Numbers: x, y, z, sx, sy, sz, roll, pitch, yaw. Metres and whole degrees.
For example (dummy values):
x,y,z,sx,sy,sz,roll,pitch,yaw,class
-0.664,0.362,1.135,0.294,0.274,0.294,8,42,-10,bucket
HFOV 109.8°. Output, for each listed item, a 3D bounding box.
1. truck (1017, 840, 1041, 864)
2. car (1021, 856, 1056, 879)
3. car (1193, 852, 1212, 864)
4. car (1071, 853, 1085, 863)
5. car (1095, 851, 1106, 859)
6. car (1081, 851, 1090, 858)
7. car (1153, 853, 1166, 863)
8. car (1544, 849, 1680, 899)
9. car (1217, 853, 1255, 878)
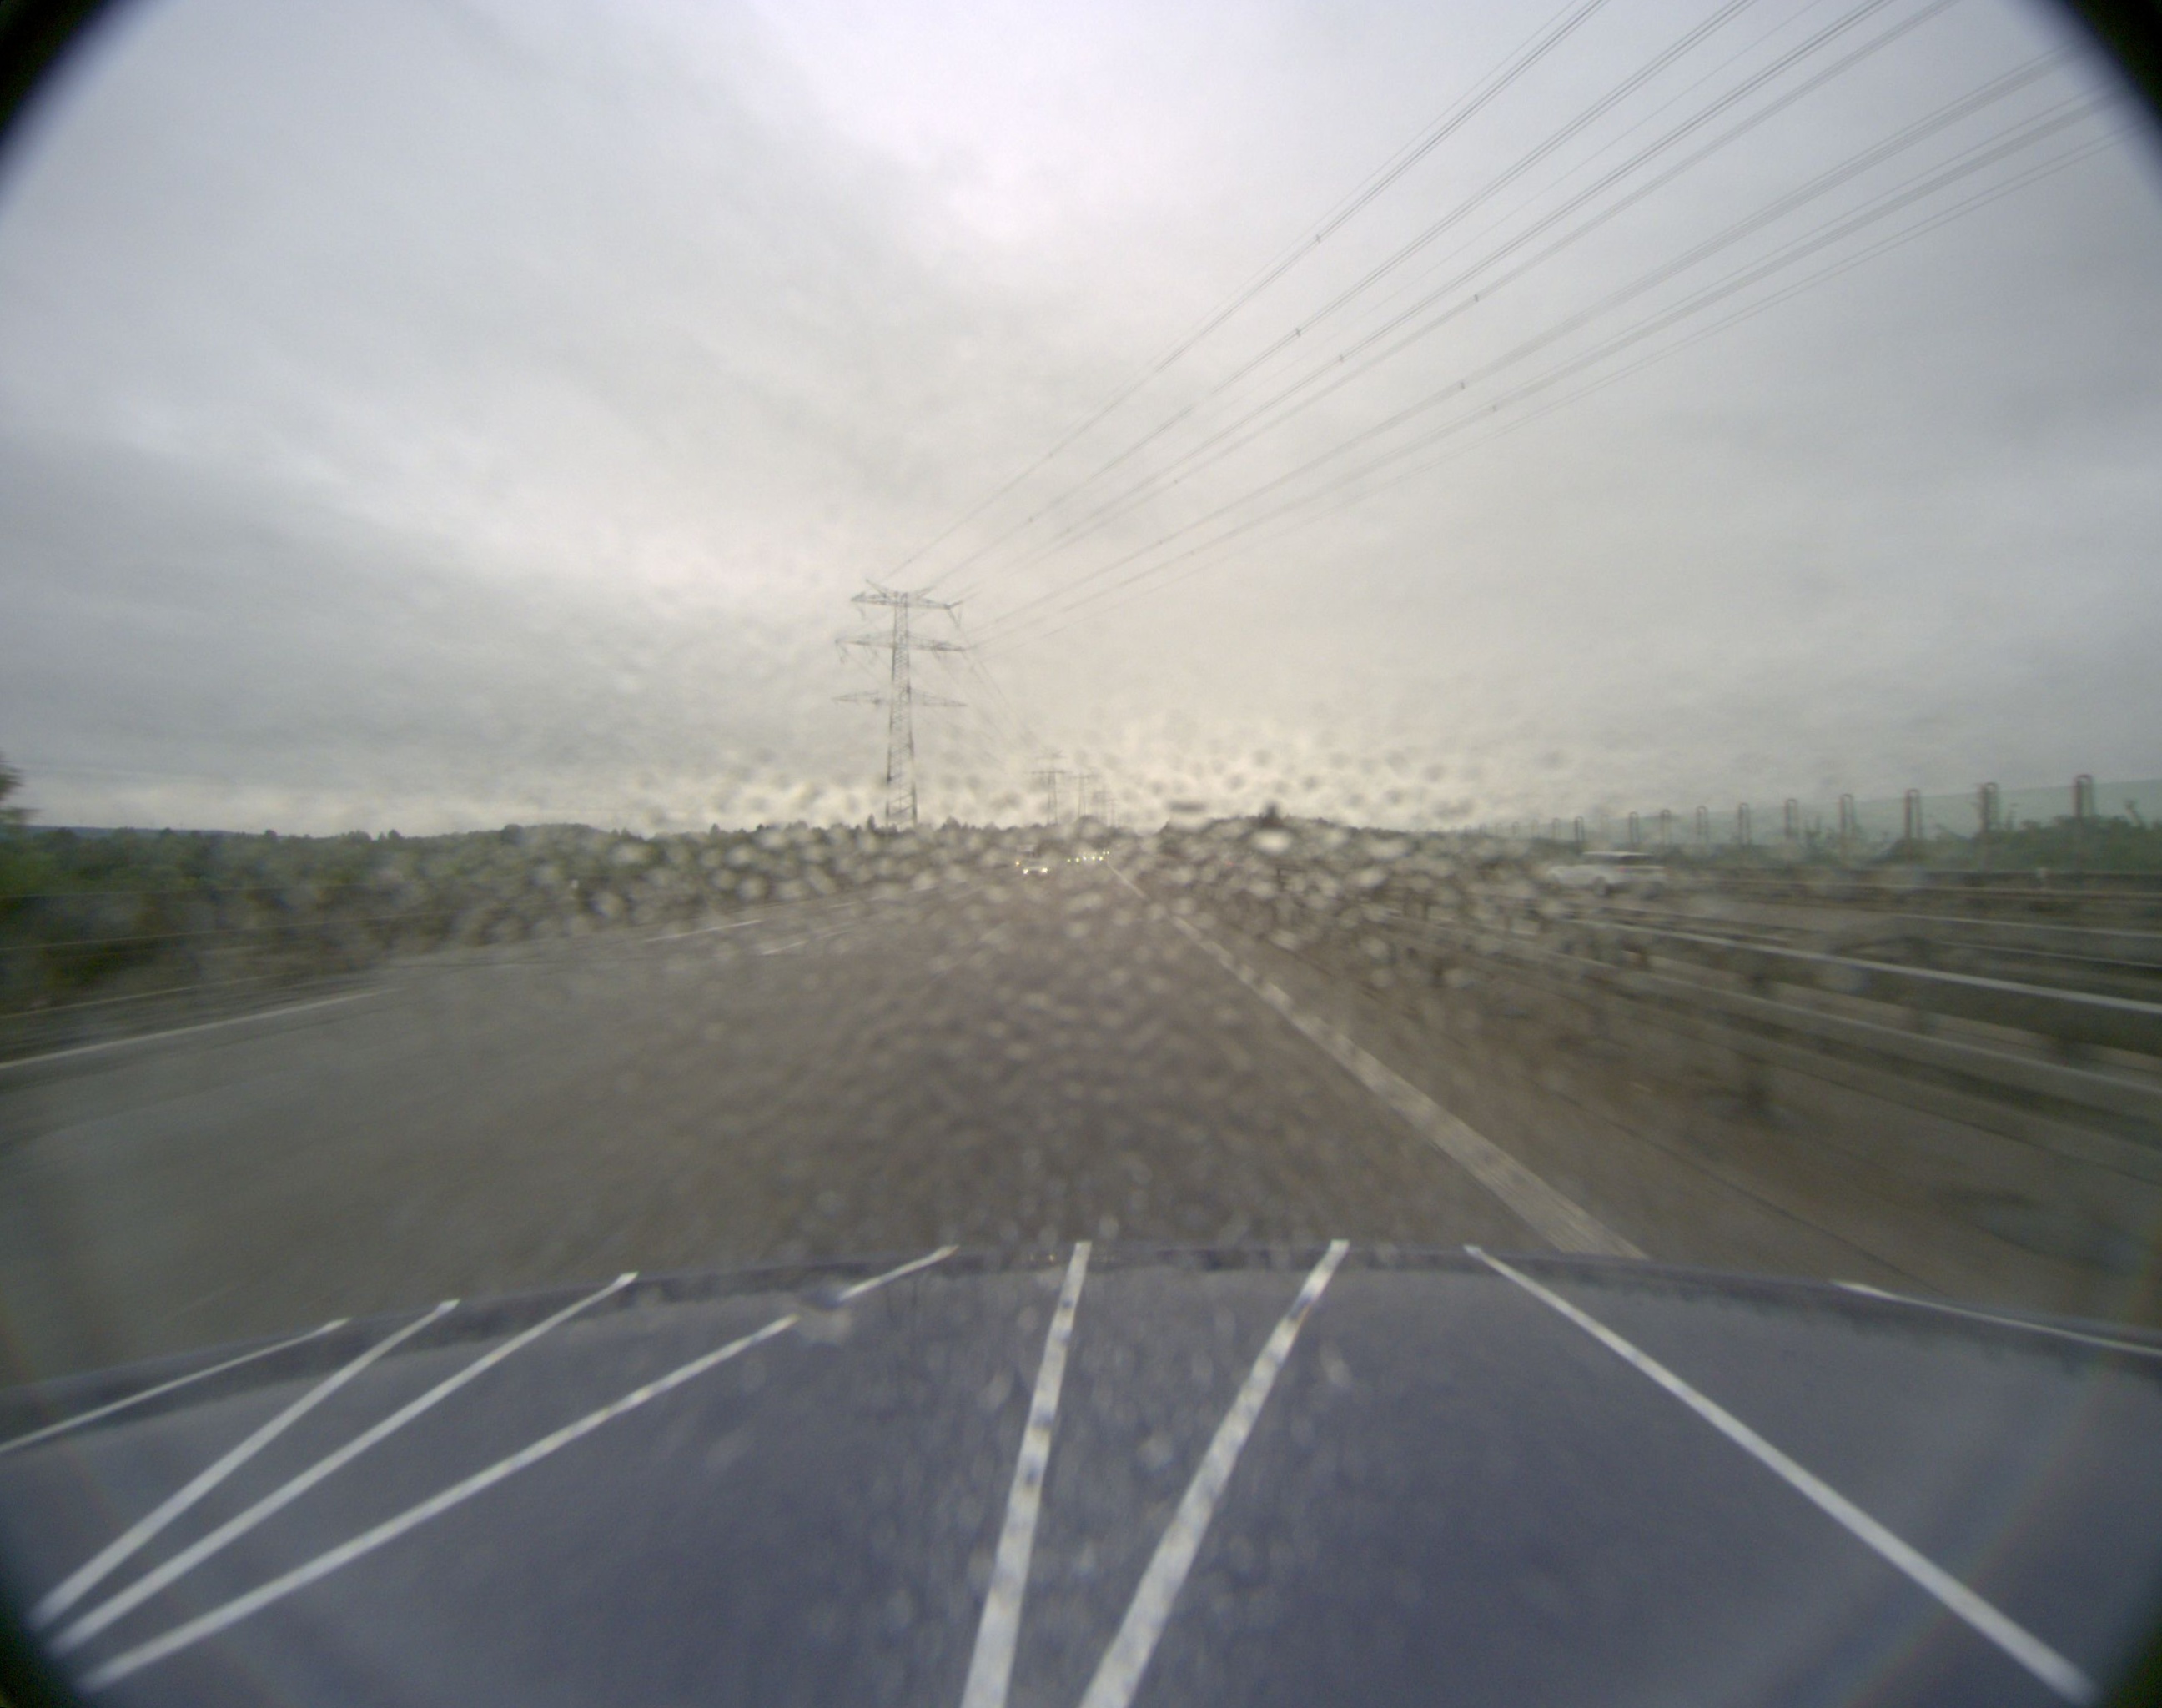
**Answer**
x,y,z,sx,sy,sz,roll,pitch,yaw,class
-7.626,-0.382,113.099,2.649,3.325,6.931,-2,1,3,truck
-2.979,0.919,53.938,1.998,1.418,4.000,-2,1,3,car
15.425,0.463,96.383,1.820,1.428,4.089,0,0,1,car
-0.438,0.673,119.414,1.998,1.418,4.000,-2,1,3,car
3.729,0.125,145.797,1.998,1.418,4.000,-2,1,3,car
0.964,0.041,162.009,1.856,1.418,4.000,-2,1,3,car
11.867,0.650,115.071,1.660,1.428,4.089,0,0,1,car
20.828,0.731,30.105,1.954,1.808,4.916,0,0,0,car
10.462,0.744,51.459,1.833,1.584,3.815,0,0,1,car
